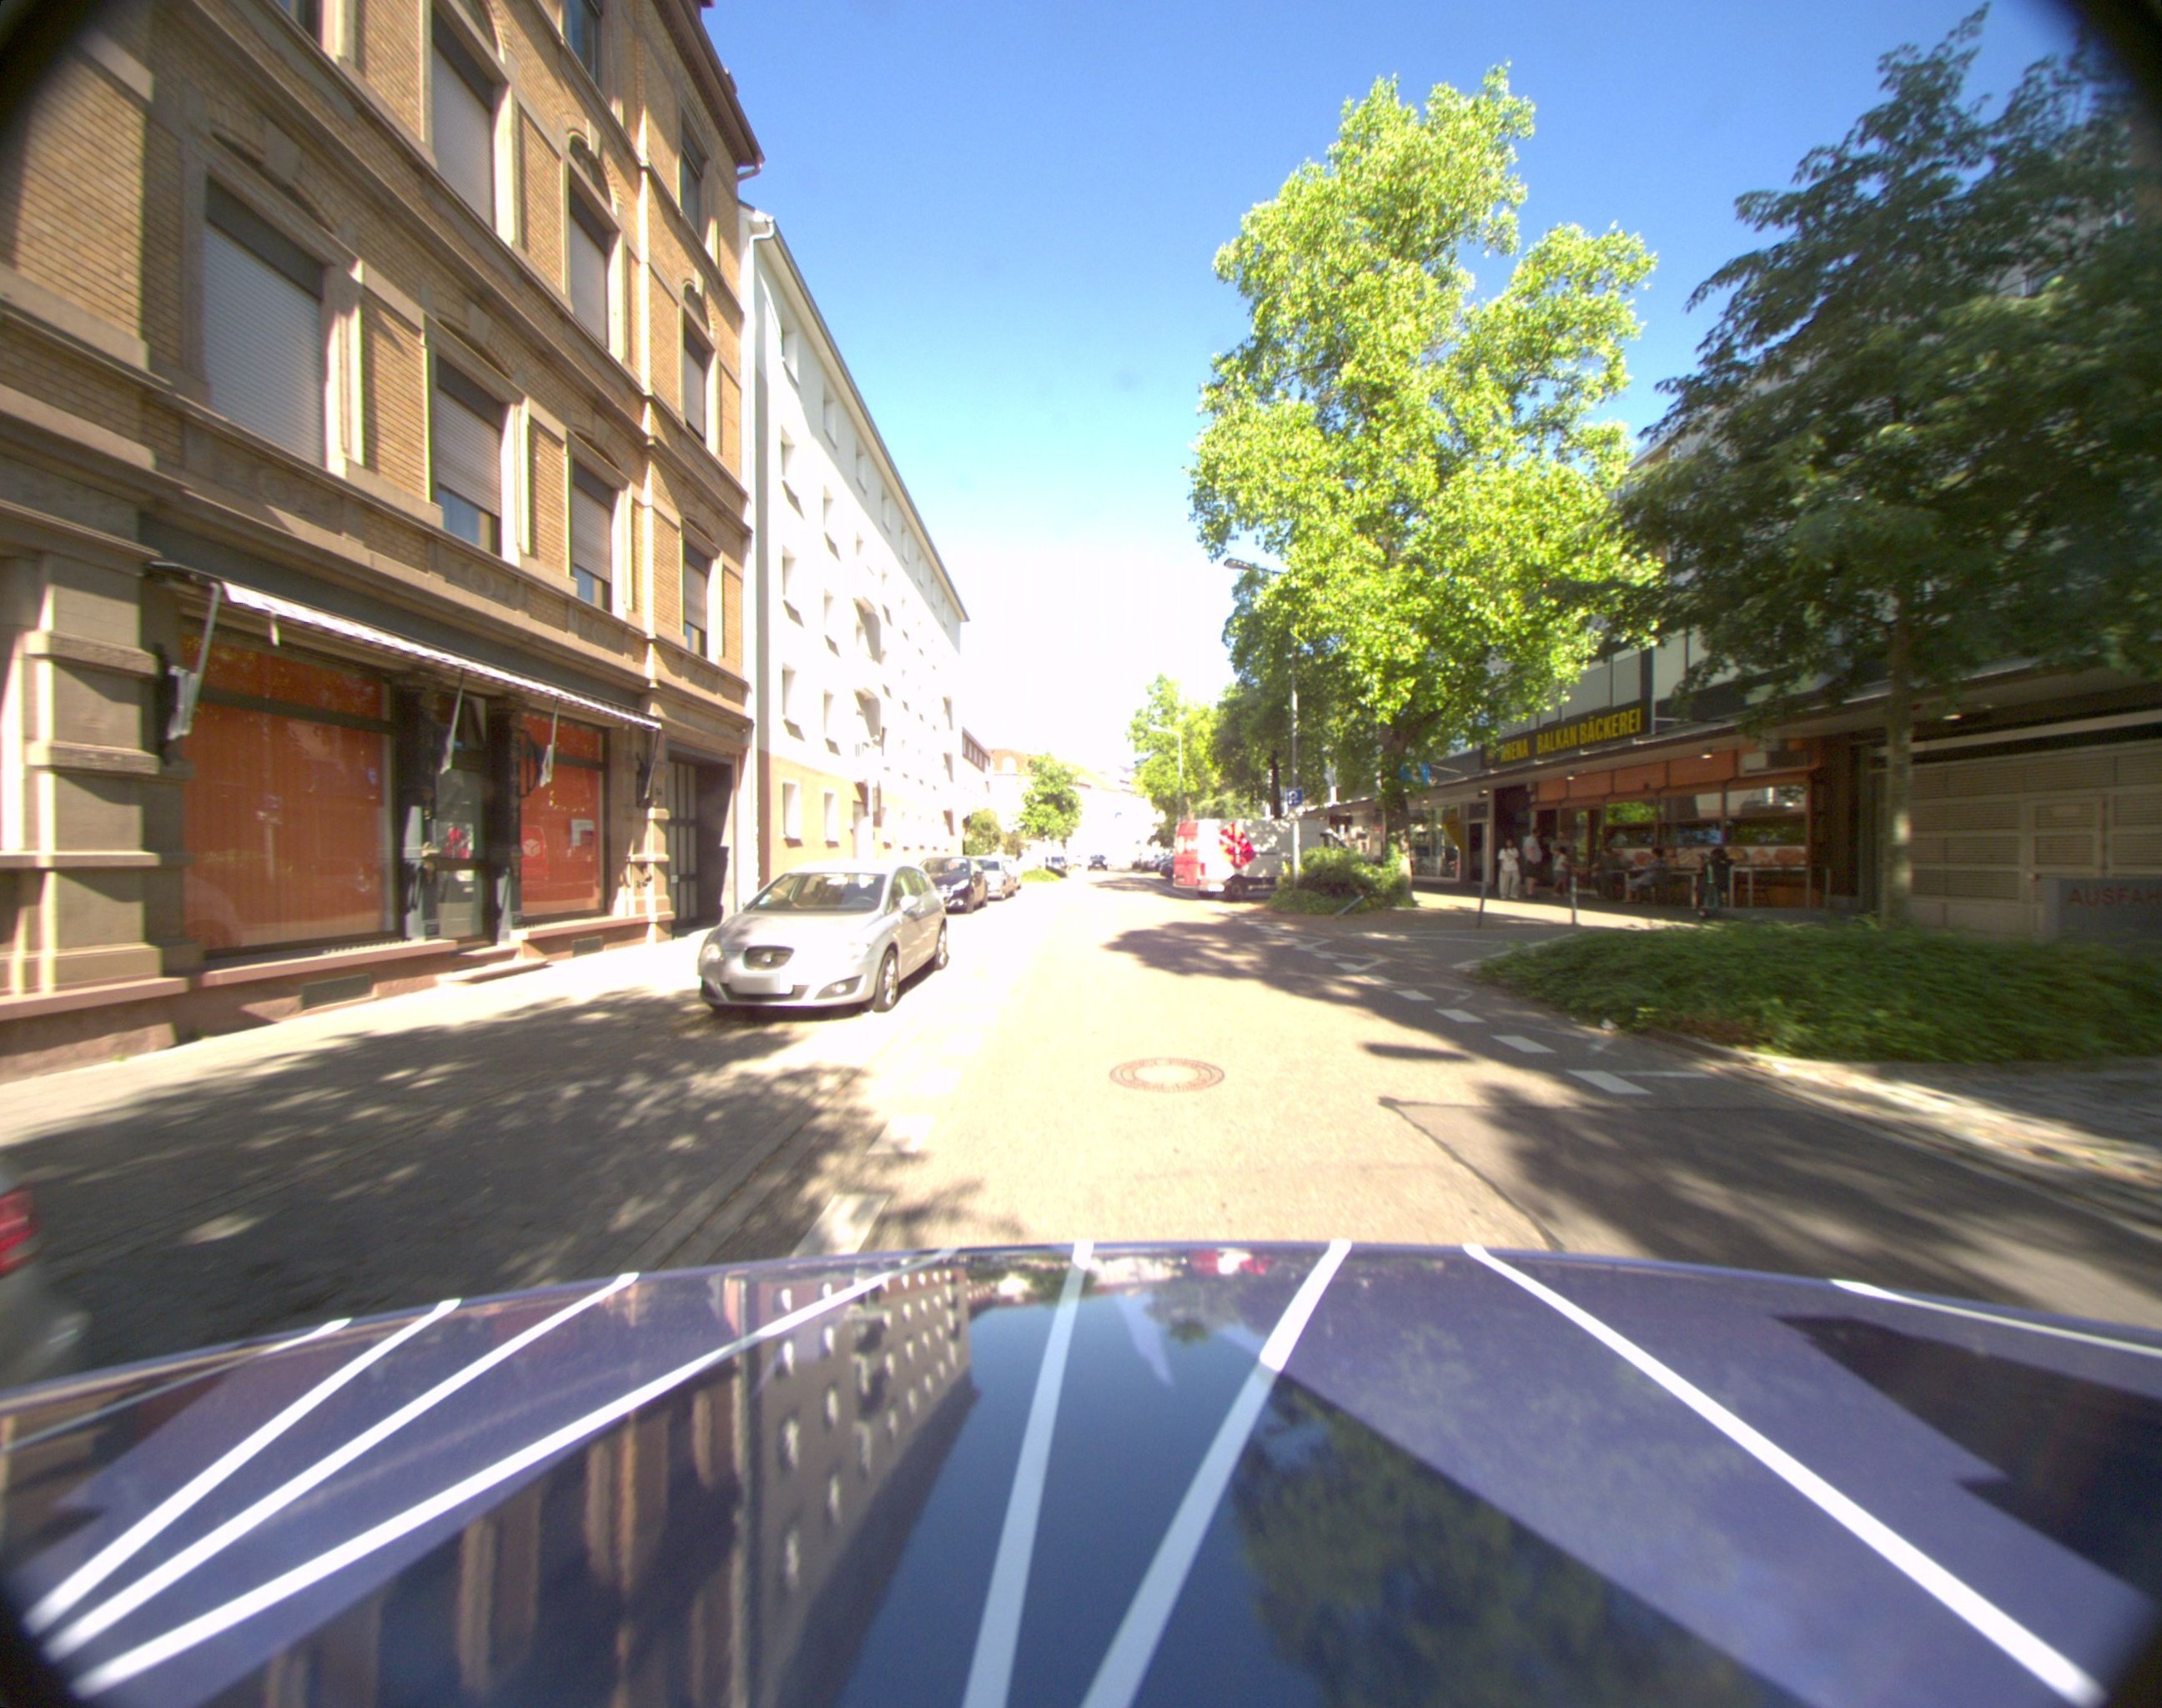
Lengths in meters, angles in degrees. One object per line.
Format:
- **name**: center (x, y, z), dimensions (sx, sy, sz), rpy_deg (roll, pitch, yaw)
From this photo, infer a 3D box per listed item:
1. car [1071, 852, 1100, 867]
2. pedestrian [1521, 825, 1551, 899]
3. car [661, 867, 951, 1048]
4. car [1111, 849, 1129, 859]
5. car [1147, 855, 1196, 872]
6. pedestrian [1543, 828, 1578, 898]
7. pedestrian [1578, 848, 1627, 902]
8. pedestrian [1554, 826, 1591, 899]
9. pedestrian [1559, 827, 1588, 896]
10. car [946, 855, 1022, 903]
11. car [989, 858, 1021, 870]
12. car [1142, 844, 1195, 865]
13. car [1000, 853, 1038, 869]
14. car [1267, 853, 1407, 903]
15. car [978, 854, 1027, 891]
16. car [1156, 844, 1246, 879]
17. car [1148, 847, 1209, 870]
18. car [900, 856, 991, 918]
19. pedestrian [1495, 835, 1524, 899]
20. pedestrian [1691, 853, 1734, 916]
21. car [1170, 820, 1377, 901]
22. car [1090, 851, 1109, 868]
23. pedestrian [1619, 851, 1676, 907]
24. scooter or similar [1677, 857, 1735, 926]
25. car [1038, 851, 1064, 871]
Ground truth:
- **car**: center (0.592, 0.686, 101.029), dimensions (1.908, 1.924, 4.818), rpy_deg (0, 0, 27)
- **pedestrian**: center (12.144, 0.211, 20.296), dimensions (0.598, 1.924, 0.588), rpy_deg (0, 1, 22)
- **car**: center (-2.659, 0.911, 8.409), dimensions (1.743, 1.443, 4.000), rpy_deg (0, 0, 0)
- **car**: center (6.018, 0.005, 115.495), dimensions (1.632, 1.412, 3.299), rpy_deg (-1, 1, 24)
- **car**: center (7.835, 0.809, 65.693), dimensions (3.997, 1.390, 1.759), rpy_deg (0, 0, -1)
- **pedestrian**: center (13.190, 0.236, 20.908), dimensions (0.596, 1.892, 0.579), rpy_deg (0, 1, -1)
- **pedestrian**: center (13.342, 0.521, 19.454), dimensions (0.565, 1.333, 0.954), rpy_deg (-1, 1, -2)
- **pedestrian**: center (13.116, 0.223, 20.296), dimensions (0.596, 1.893, 0.579), rpy_deg (-1, 1, -1)
- **pedestrian**: center (13.782, 0.211, 21.270), dimensions (0.454, 1.893, 0.492), rpy_deg (-1, 1, -1)
- **car**: center (-3.213, 0.781, 26.080), dimensions (1.790, 1.451, 4.517), rpy_deg (1, 0, 3)
- **car**: center (-8.946, 1.136, 89.723), dimensions (3.648, 1.394, 1.568), rpy_deg (0, 0, 1)
- **car**: center (8.660, 0.092, 75.517), dimensions (4.995, 1.958, 1.909), rpy_deg (-1, 0, -1)
- **car**: center (-7.733, 0.863, 95.198), dimensions (4.756, 2.002, 1.999), rpy_deg (0, 0, -4)
- **car**: center (7.601, 0.691, 22.802), dimensions (3.603, 1.412, 1.831), rpy_deg (-1, 0, 0)
- **car**: center (-3.384, 0.770, 33.319), dimensions (1.735, 1.477, 3.794), rpy_deg (1, 0, 0)
- **car**: center (7.138, 0.426, 45.596), dimensions (5.043, 1.927, 1.873), rpy_deg (-2, 0, 0)
- **car**: center (8.112, 0.394, 63.271), dimensions (4.781, 1.767, 1.874), rpy_deg (-1, 0, -1)
- **car**: center (-3.477, 0.803, 20.123), dimensions (1.713, 1.471, 3.710), rpy_deg (0, 0, 1)
- **pedestrian**: center (11.638, 0.357, 20.655), dimensions (0.598, 1.701, 0.588), rpy_deg (0, 1, 22)
- **pedestrian**: center (12.772, 0.603, 15.370), dimensions (0.329, 1.233, 0.636), rpy_deg (-1, 1, -2)
- **car**: center (6.359, 0.159, 24.985), dimensions (6.610, 2.459, 1.996), rpy_deg (-1, 0, -20)
- **car**: center (1.664, 0.463, 68.723), dimensions (1.612, 1.444, 3.294), rpy_deg (-1, 0, 0)
- **pedestrian**: center (12.914, 0.556, 17.337), dimensions (0.609, 1.256, 0.898), rpy_deg (-1, 1, -2)
- **scooter or similar**: center (11.813, 0.679, 14.353), dimensions (1.320, 1.216, 0.456), rpy_deg (-2, 2, -33)
- **car**: center (-2.310, 0.498, 59.206), dimensions (1.720, 1.445, 4.000), rpy_deg (1, 1, 1)
